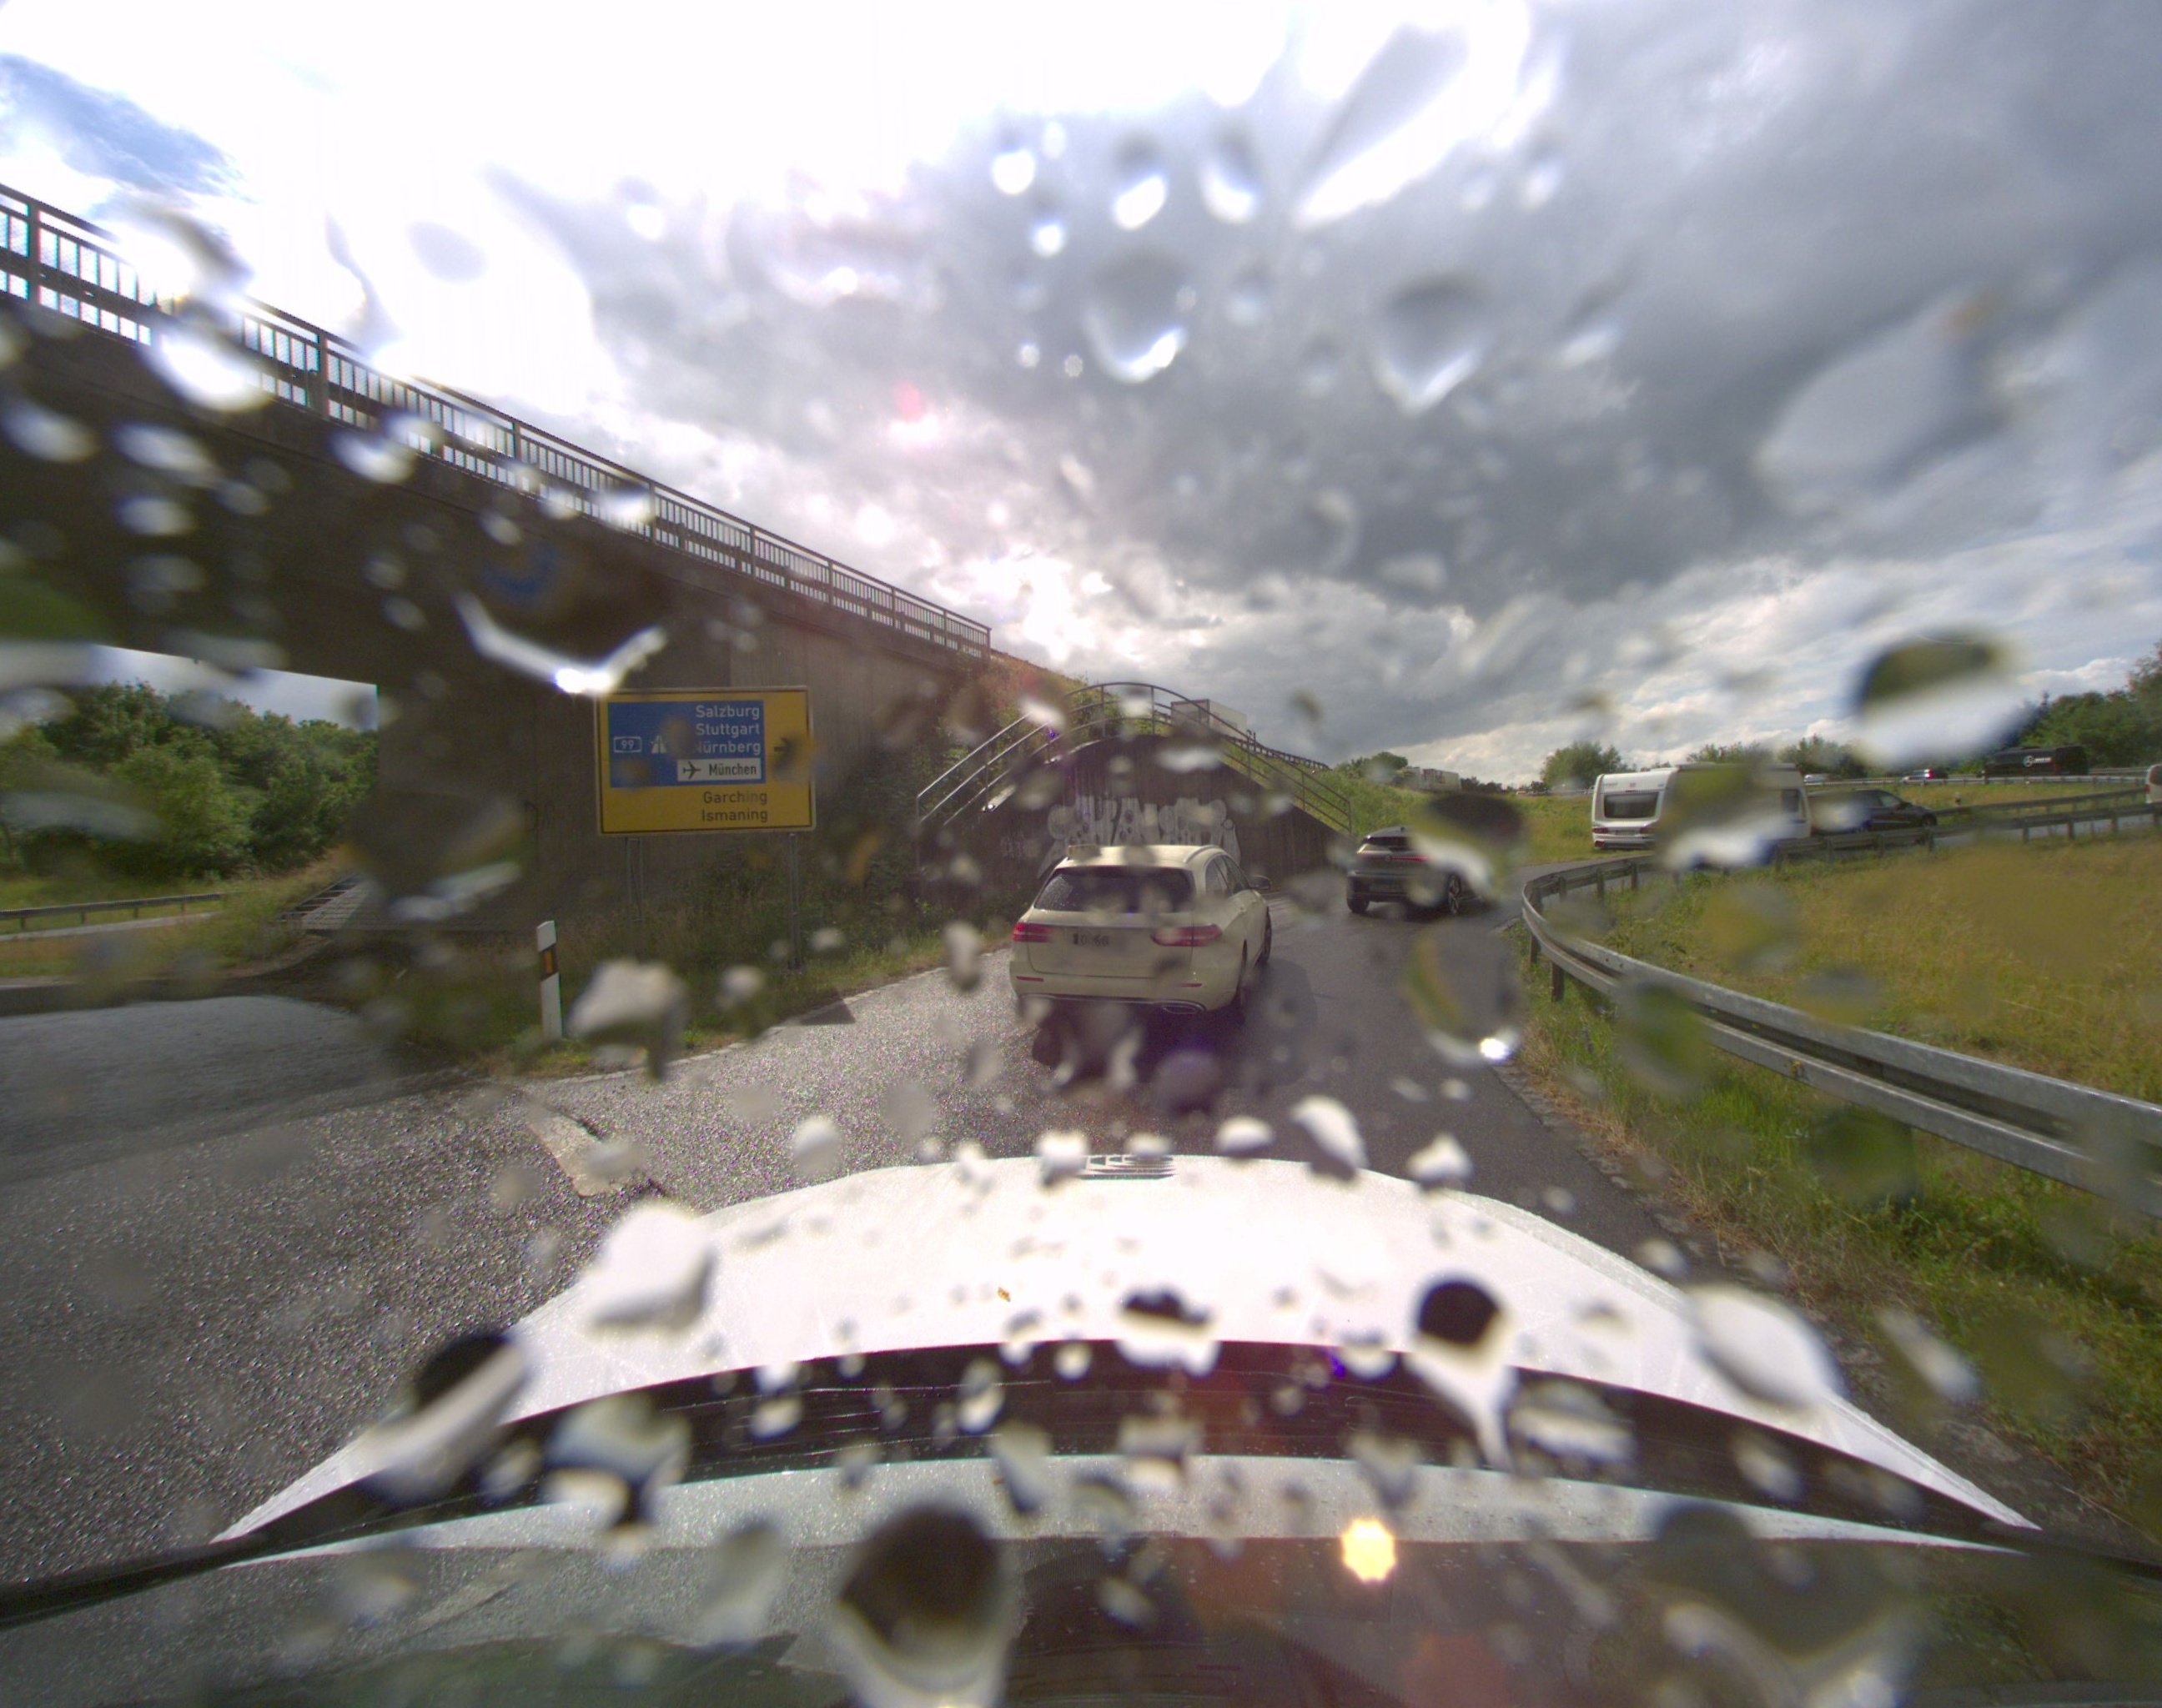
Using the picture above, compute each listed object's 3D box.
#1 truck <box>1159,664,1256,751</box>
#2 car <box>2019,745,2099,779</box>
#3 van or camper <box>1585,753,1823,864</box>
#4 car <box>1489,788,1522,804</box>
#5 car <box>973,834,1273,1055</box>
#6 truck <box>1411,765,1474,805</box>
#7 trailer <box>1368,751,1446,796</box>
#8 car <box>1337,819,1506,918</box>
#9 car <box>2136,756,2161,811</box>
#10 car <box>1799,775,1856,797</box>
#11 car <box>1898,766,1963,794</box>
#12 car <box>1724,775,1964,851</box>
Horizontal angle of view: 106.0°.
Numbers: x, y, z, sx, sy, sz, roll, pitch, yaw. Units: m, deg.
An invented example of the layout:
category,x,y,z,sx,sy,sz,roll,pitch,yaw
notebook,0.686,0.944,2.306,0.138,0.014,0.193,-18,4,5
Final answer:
category,x,y,z,sx,sy,sz,roll,pitch,yaw
truck,8.402,-9.208,52.759,3.150,3.966,9.294,-1,0,29
car,72.405,-6.800,60.373,1.977,2.013,4.019,-1,0,18
van or camper,17.313,-1.304,22.650,6.002,2.729,2.423,-3,2,-20
car,59.124,-8.069,113.345,3.949,2.013,1.838,0,0,30
car,0.778,0.591,8.098,1.901,1.507,4.617,-1,1,16
truck,52.778,-9.822,118.401,4.417,4.503,19.501,-1,0,36
trailer,41.378,-9.920,102.468,4.370,3.955,20.348,0,0,36
car,6.298,0.154,14.814,1.702,1.524,4.026,1,3,40
car,39.846,-2.559,28.411,5.052,1.861,1.989,-3,1,-16
car,74.401,-6.780,81.207,1.988,2.013,3.998,-3,3,-2
car,74.954,-6.494,71.901,1.981,2.013,4.013,-2,1,11
car,22.645,-1.221,24.247,5.747,1.925,2.426,-3,2,-12
